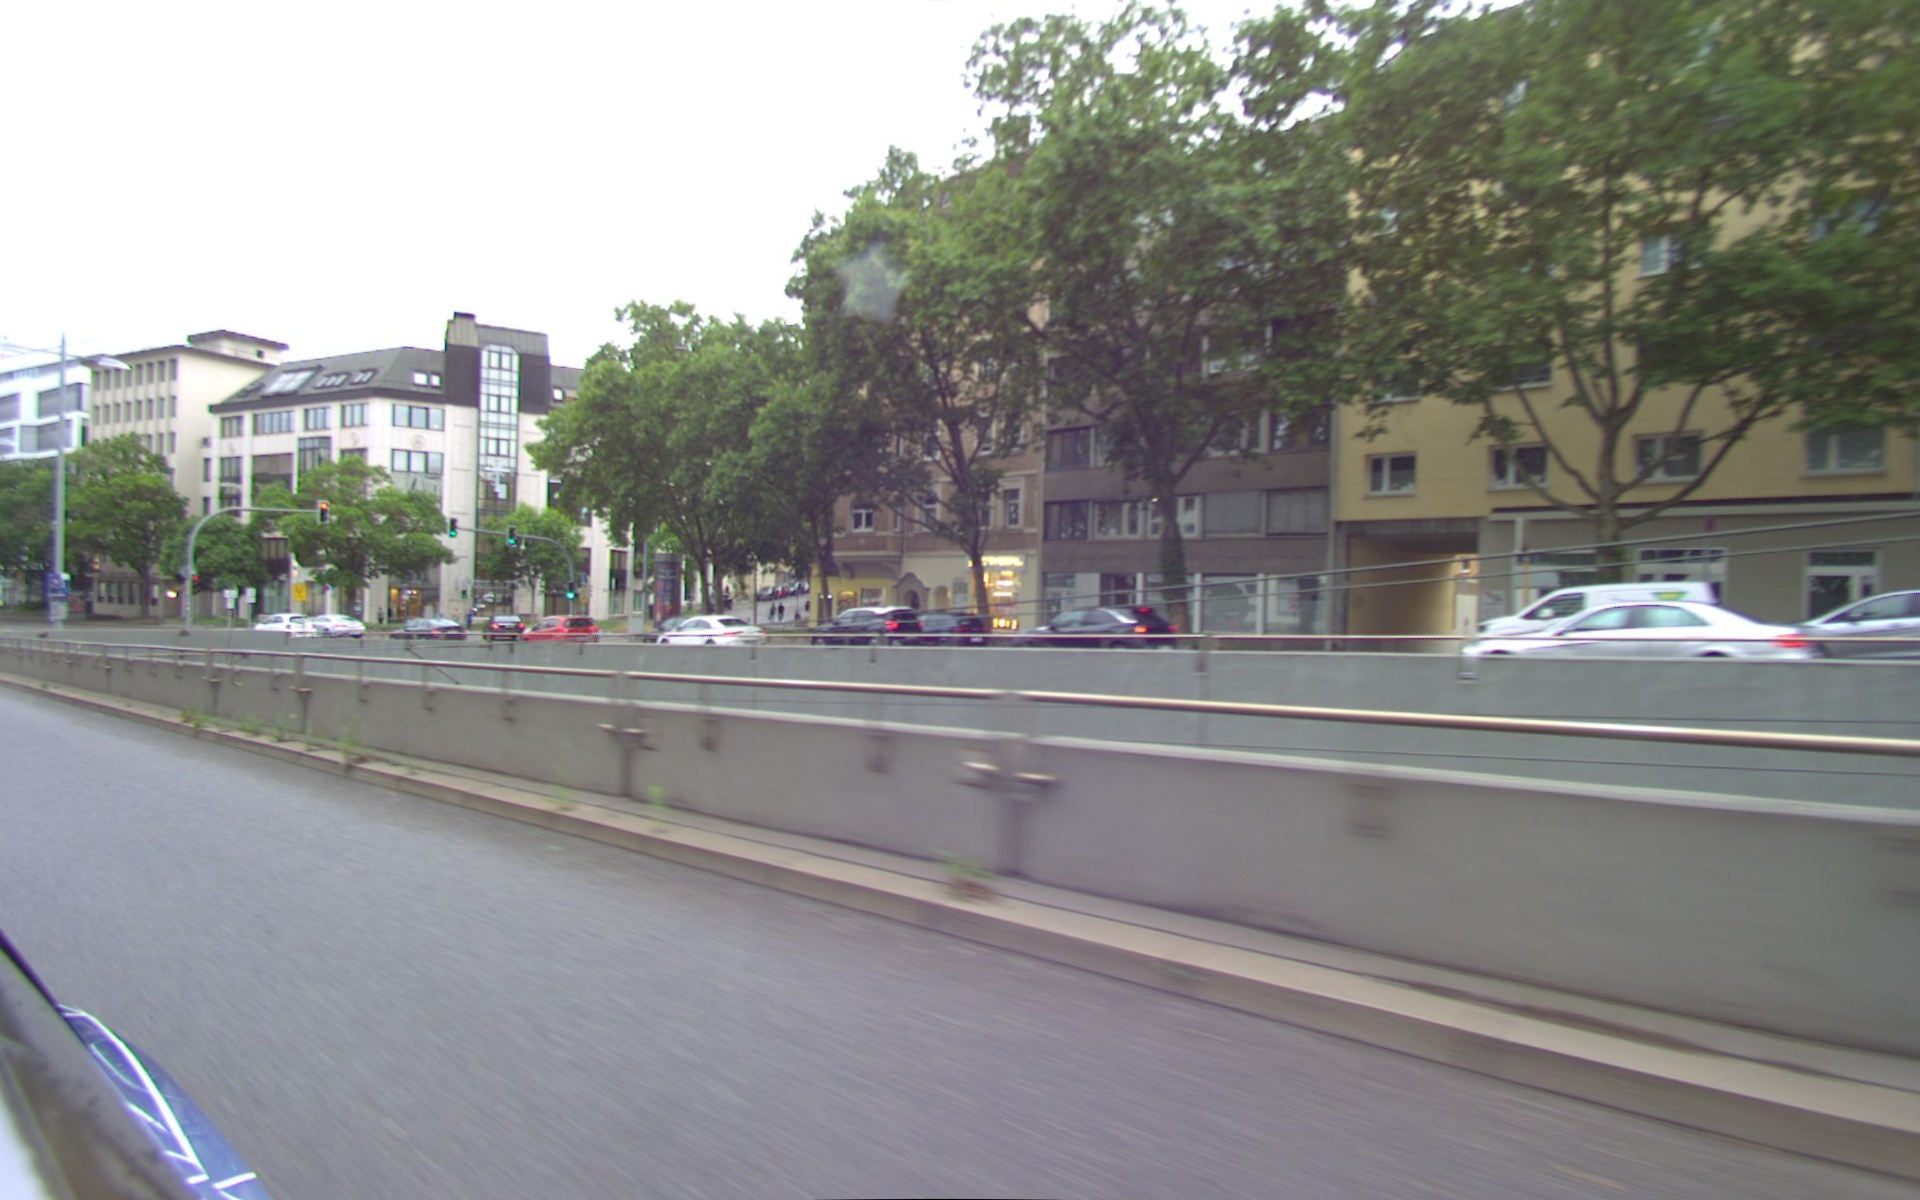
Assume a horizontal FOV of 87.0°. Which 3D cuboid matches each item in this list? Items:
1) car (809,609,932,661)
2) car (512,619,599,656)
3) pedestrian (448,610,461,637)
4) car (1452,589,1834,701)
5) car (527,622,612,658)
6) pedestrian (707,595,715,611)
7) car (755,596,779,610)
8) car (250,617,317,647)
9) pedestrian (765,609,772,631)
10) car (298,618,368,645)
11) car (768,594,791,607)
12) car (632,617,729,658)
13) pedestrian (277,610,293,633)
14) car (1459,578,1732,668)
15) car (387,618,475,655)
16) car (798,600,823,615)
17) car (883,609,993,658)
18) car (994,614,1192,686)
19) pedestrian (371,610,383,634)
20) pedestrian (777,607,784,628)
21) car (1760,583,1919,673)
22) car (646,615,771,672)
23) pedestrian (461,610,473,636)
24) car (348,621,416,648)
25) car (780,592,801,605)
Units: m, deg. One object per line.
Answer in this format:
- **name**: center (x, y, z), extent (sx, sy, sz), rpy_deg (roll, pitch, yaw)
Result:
- **car**: center (-3.009, 1.141, 33.469), extent (4.015, 1.592, 1.775), rpy_deg (-2, -1, 42)
- **car**: center (-16.360, 1.479, 40.833), extent (3.876, 1.411, 1.569), rpy_deg (-1, -1, 39)
- **pedestrian**: center (-35.559, 1.637, 71.175), extent (0.582, 1.822, 0.675), rpy_deg (-1, 0, -44)
- **car**: center (10.724, 0.667, 16.160), extent (4.820, 1.522, 1.827), rpy_deg (-2, -1, 42)
- **car**: center (-17.581, 1.753, 45.518), extent (3.994, 1.522, 1.777), rpy_deg (-1, -1, 38)
- **pedestrian**: center (-26.127, 0.352, 106.128), extent (0.644, 1.674, 0.647), rpy_deg (-1, 0, 13)
- **car**: center (-22.775, 0.341, 119.655), extent (1.777, 1.521, 3.995), rpy_deg (-1, 0, 4)
- **car**: center (-37.114, 1.742, 55.500), extent (3.991, 1.573, 1.779), rpy_deg (0, -1, 35)
- **pedestrian**: center (-16.570, 1.740, 87.557), extent (0.623, 1.822, 0.675), rpy_deg (-1, 0, -8)
- **car**: center (-36.202, 1.800, 58.459), extent (3.984, 1.522, 1.782), rpy_deg (0, -1, 30)
- **car**: center (-22.158, 0.000, 124.552), extent (1.777, 1.521, 3.994), rpy_deg (-1, 0, 5)
- **car**: center (-11.263, 1.475, 40.721), extent (3.994, 1.522, 1.777), rpy_deg (-1, -1, 38)
- **pedestrian**: center (-53.753, 1.728, 80.580), extent (0.614, 1.798, 0.826), rpy_deg (0, 0, 32)
- **car**: center (13.893, 0.513, 22.291), extent (4.893, 1.778, 1.859), rpy_deg (-2, -1, 38)
- **car**: center (-24.561, 1.646, 46.911), extent (4.829, 1.569, 1.777), rpy_deg (-1, -1, 38)
- **car**: center (-15.561, 0.808, 105.397), extent (1.592, 1.473, 3.483), rpy_deg (-1, 0, 8)
- **car**: center (-0.824, 1.130, 35.010), extent (1.674, 1.562, 4.070), rpy_deg (-1, -1, -39)
- **car**: center (3.011, 1.085, 23.537), extent (4.343, 1.522, 1.775), rpy_deg (-1, -1, 42)
- **pedestrian**: center (-43.707, 1.651, 75.876), extent (0.524, 1.798, 0.598), rpy_deg (0, 0, 32)
- **pedestrian**: center (-15.548, 1.514, 87.648), extent (0.623, 1.822, 0.675), rpy_deg (-1, 0, -8)
- **car**: center (17.720, 0.484, 18.732), extent (4.470, 1.595, 1.858), rpy_deg (-2, -1, 41)
- **car**: center (-8.538, 1.396, 34.155), extent (4.731, 1.783, 1.775), rpy_deg (-1, -1, 42)
- **pedestrian**: center (-34.928, 1.610, 71.750), extent (0.582, 1.822, 0.675), rpy_deg (-1, 0, -44)
- **car**: center (-34.809, 2.073, 60.950), extent (3.983, 1.522, 1.782), rpy_deg (0, -2, 29)
- **car**: center (-21.837, -0.222, 130.240), extent (1.777, 1.521, 3.995), rpy_deg (-1, 0, 4)
